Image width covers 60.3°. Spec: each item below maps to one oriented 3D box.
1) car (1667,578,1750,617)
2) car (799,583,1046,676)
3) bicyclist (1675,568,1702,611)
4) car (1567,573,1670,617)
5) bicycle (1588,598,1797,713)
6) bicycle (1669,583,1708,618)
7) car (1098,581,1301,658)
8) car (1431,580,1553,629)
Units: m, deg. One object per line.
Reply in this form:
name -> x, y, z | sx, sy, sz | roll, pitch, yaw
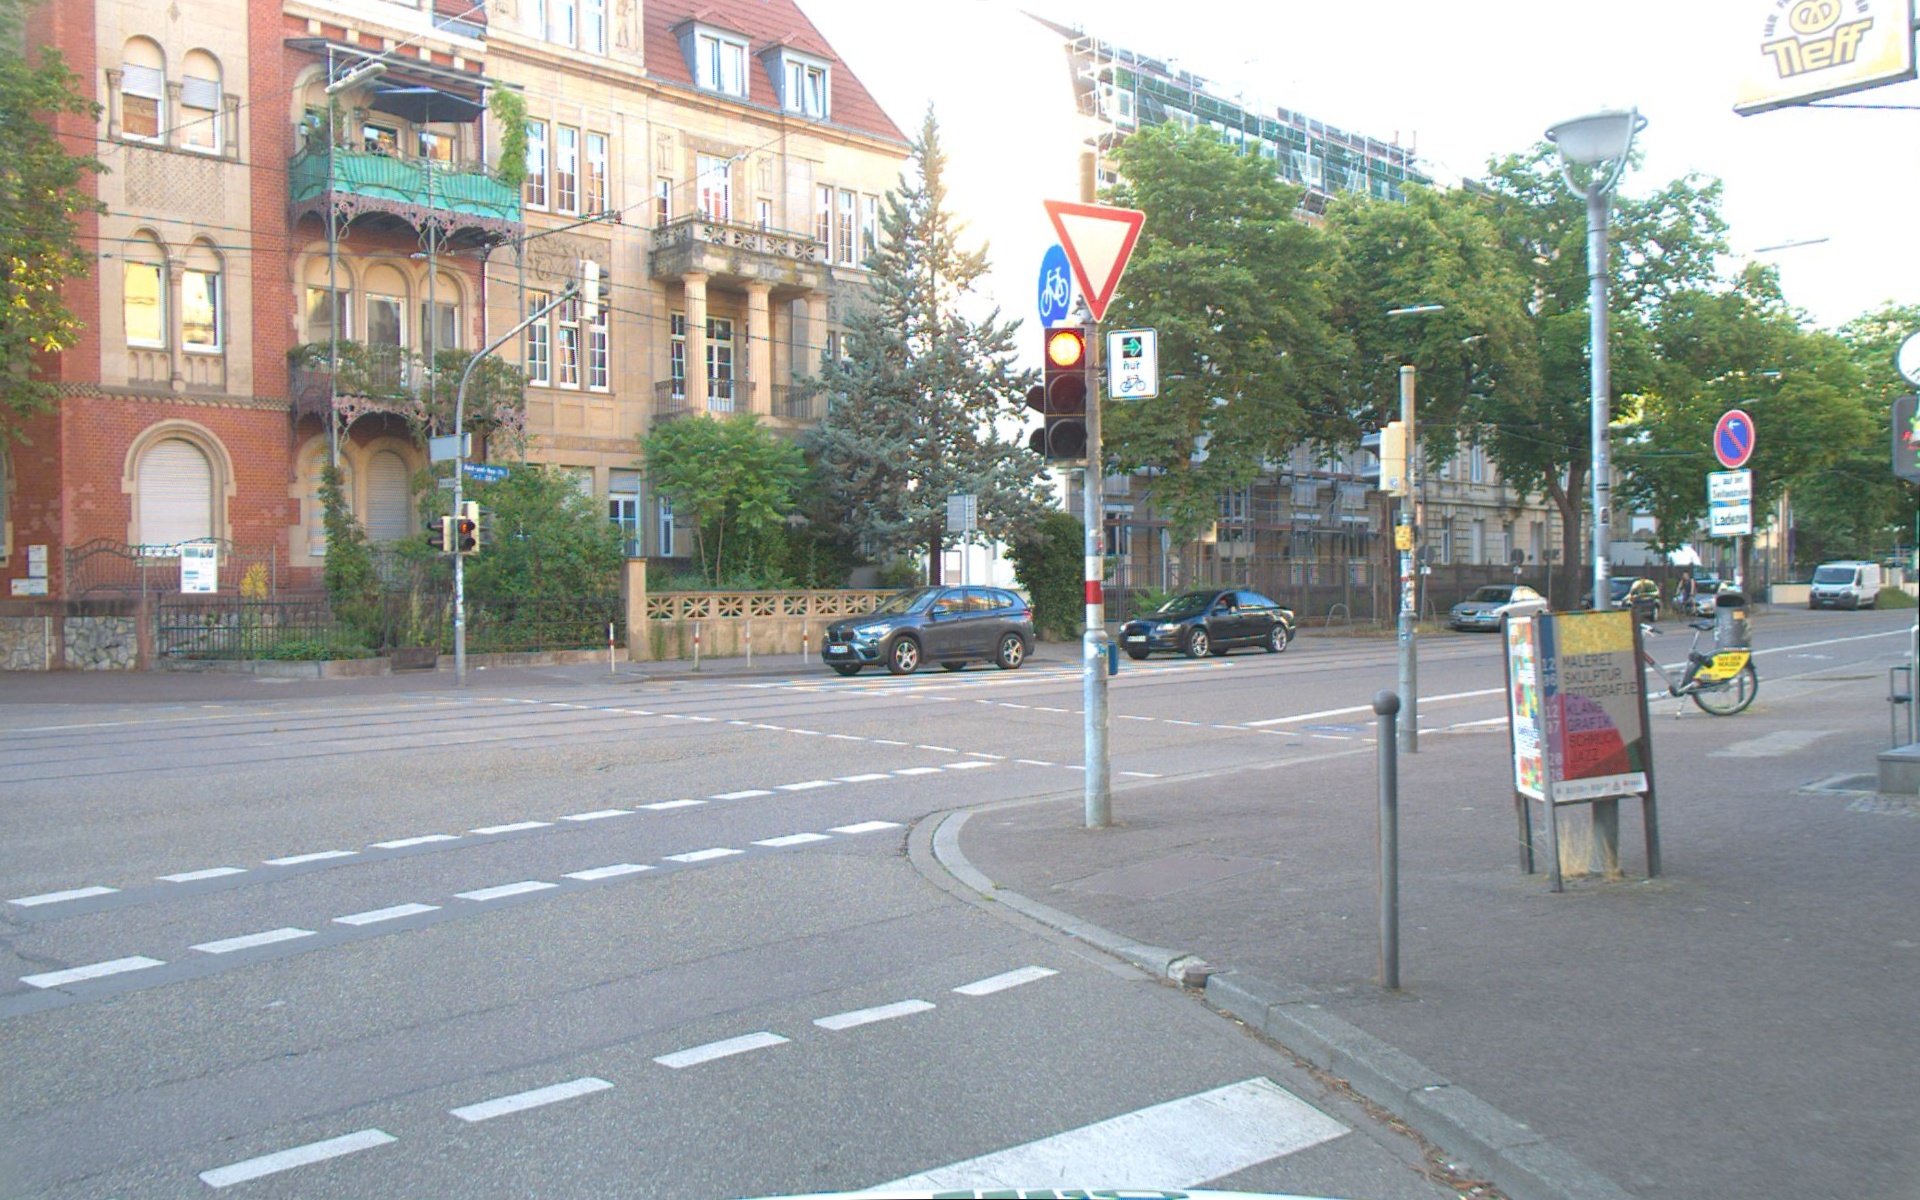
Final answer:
car -> 30.490, -0.121, 67.306 | 1.915, 1.508, 4.296 | -1, 0, 41
car -> -0.638, 0.490, 30.462 | 4.383, 1.536, 1.920 | -1, 0, -43
bicyclist -> 25.090, -0.373, 56.971 | 0.729, 1.453, 0.547 | -1, 0, -39
car -> 24.207, -0.196, 60.732 | 4.134, 1.508, 1.920 | -1, 0, -43
bicycle -> 7.553, 0.567, 17.125 | 1.832, 1.150, 0.732 | -1, 0, 9
bicycle -> 25.098, -0.001, 56.965 | 1.592, 1.168, 0.547 | -1, 0, -40
car -> 5.264, 0.384, 35.983 | 4.594, 1.536, 1.920 | -1, 0, -43
car -> 17.183, 0.129, 53.283 | 1.976, 1.451, 4.602 | -1, 0, 43
